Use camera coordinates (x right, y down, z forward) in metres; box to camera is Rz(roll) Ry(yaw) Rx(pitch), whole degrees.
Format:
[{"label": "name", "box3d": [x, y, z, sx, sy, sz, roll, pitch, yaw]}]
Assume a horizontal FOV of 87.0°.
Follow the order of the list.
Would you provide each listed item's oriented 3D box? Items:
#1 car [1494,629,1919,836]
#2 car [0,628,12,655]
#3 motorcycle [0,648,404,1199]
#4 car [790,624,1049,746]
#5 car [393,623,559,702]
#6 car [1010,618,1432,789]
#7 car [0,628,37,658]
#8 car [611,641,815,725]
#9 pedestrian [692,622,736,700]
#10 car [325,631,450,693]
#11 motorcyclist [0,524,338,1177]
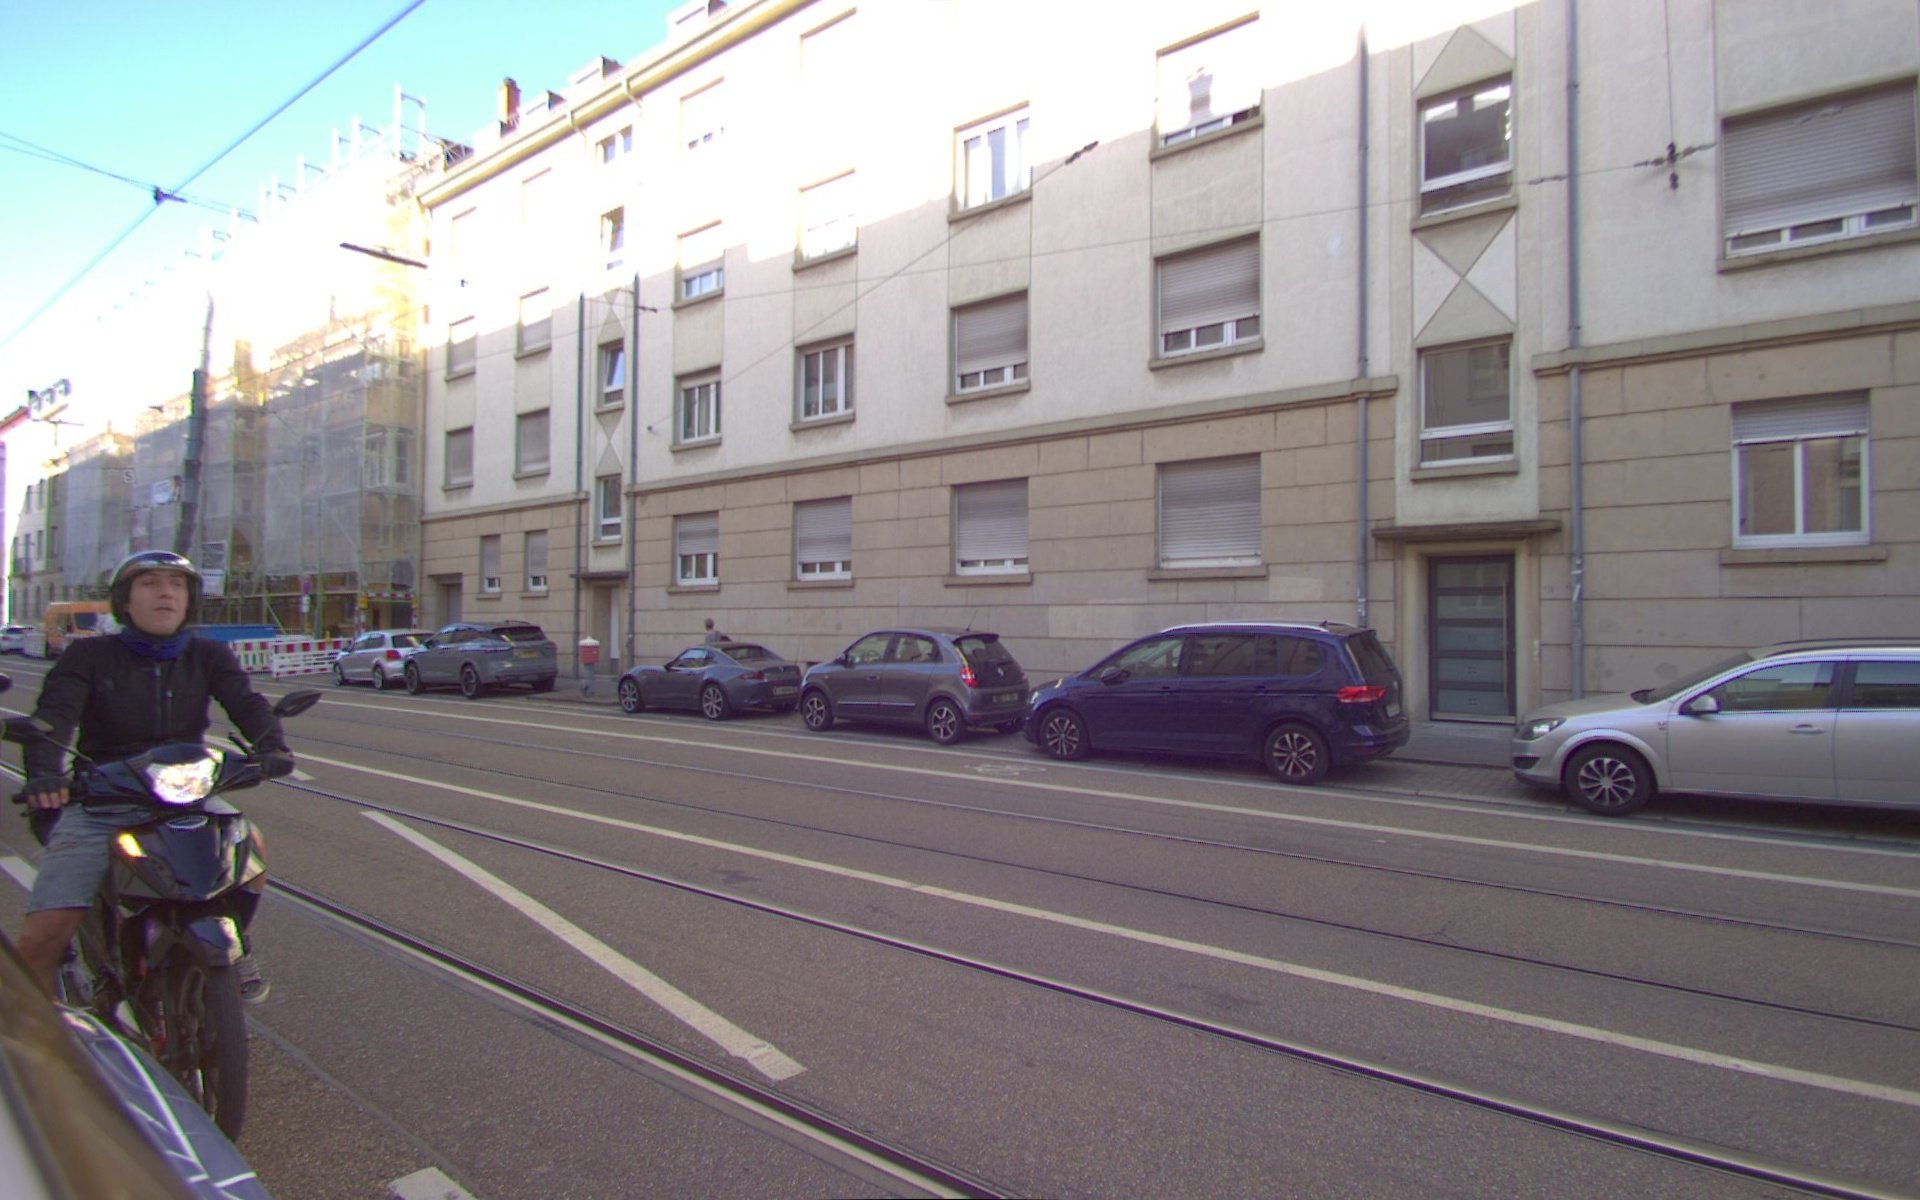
[{"label": "car", "box3d": [7.108, 1.005, 8.515, 4.383, 1.489, 1.779, -1, -1, 38]}, {"label": "car", "box3d": [-54.597, 2.327, 56.835, 3.964, 1.498, 1.662, -2, -1, 42]}, {"label": "motorcycle", "box3d": [-2.658, 0.819, 3.251, 2.272, 1.302, 0.781, -2, -3, 41]}, {"label": "car", "box3d": [-0.646, 1.135, 14.669, 3.535, 1.539, 1.659, -1, -1, 38]}, {"label": "car", "box3d": [-10.900, 1.336, 22.675, 4.201, 1.611, 1.675, -1, -1, 38]}, {"label": "car", "box3d": [2.875, 1.035, 11.690, 4.383, 1.611, 1.779, -1, -1, 38]}, {"label": "car", "box3d": [-50.081, 2.272, 53.358, 3.964, 1.498, 1.662, -2, -1, 42]}, {"label": "car", "box3d": [-4.332, 1.368, 17.515, 3.681, 1.244, 1.502, -1, -1, 38]}, {"label": "pedestrian", "box3d": [-5.043, 1.231, 20.727, 0.693, 1.553, 0.563, -2, -3, 39]}, {"label": "car", "box3d": [-14.401, 1.500, 25.412, 3.506, 1.423, 1.524, -1, -1, 38]}, {"label": "motorcyclist", "box3d": [-2.561, 0.658, 3.174, 0.899, 1.668, 0.781, -2, -3, 41]}]
